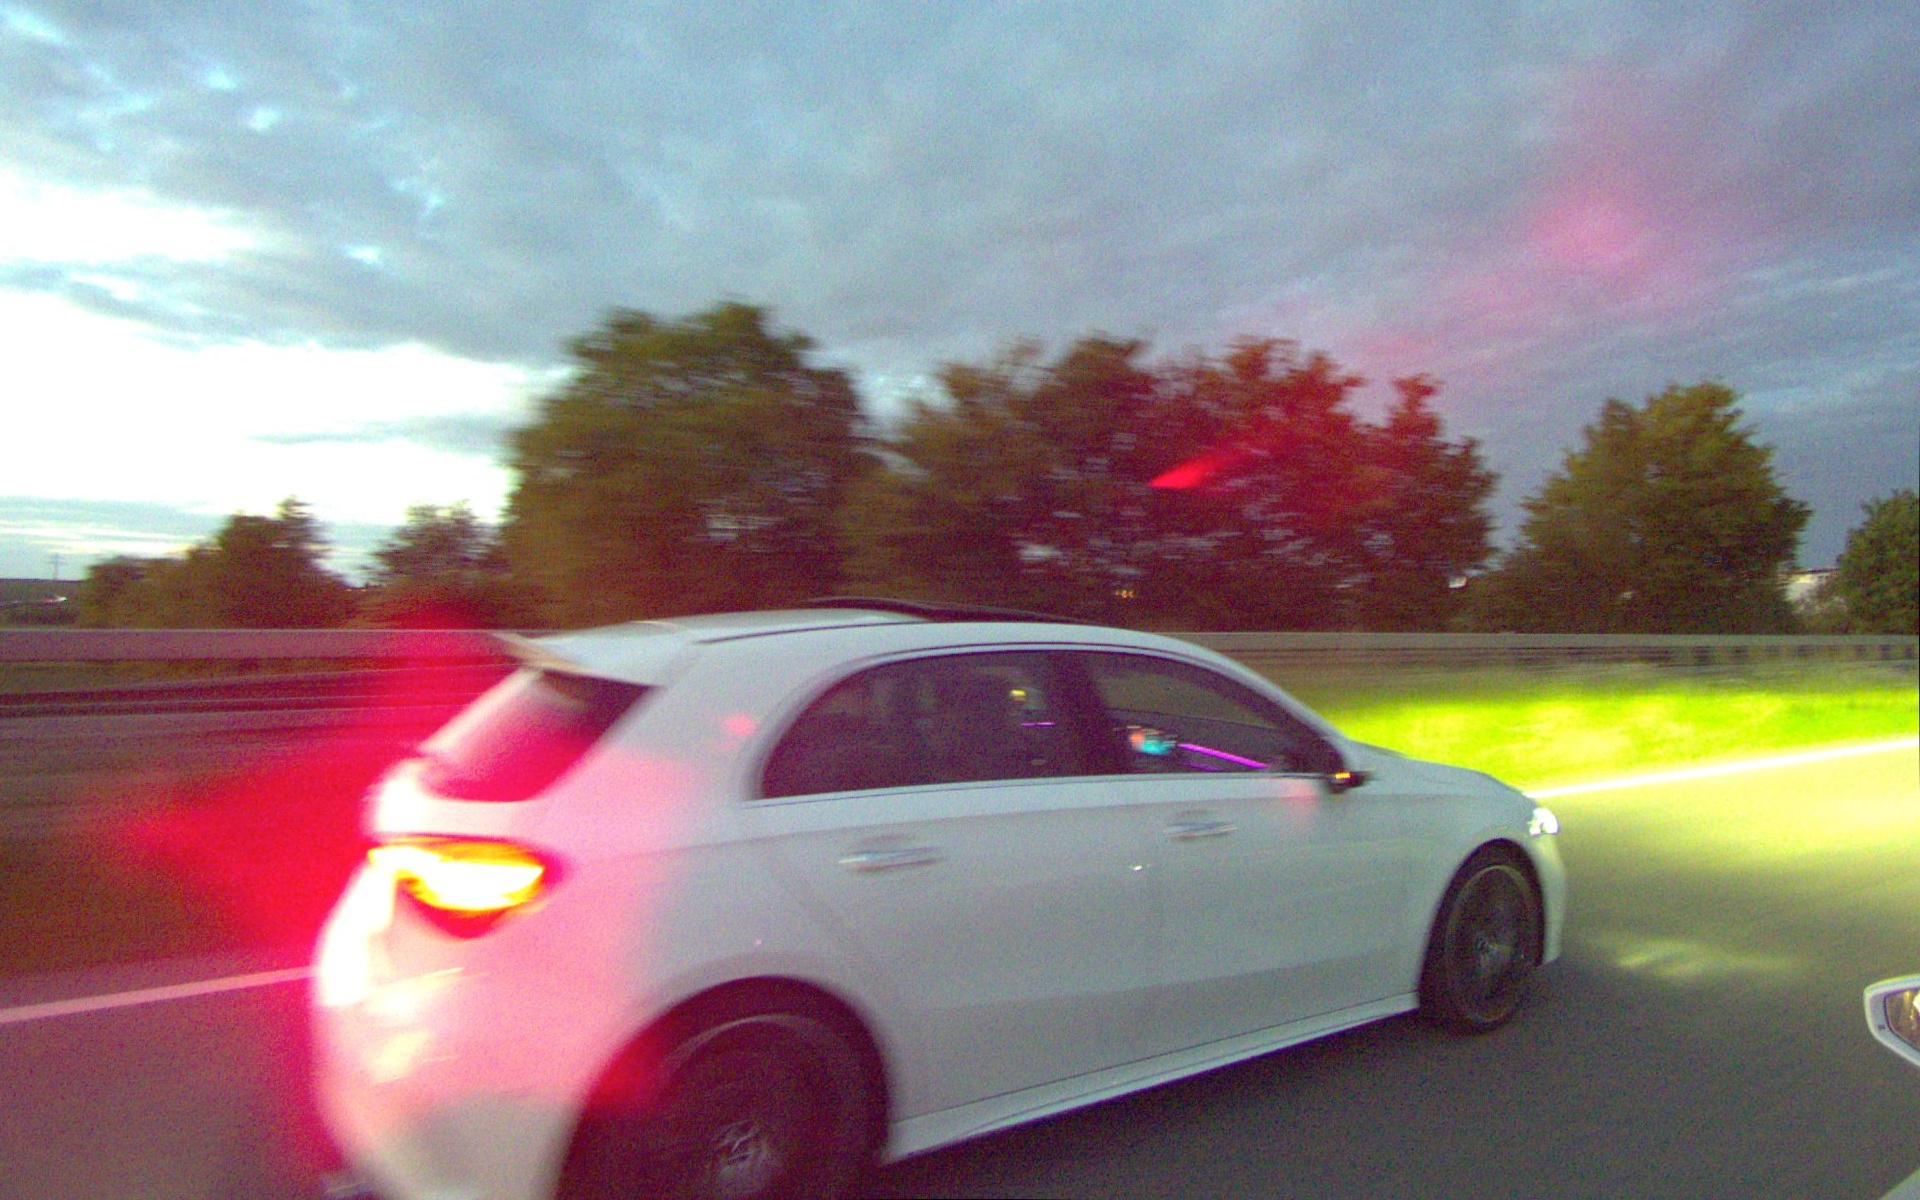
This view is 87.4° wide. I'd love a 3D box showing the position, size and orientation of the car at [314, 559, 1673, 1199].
[{"bbox_3d":[0.474,0.738,3.524,4.527,1.510,1.633,2,0,-31],"label":"car"}]
